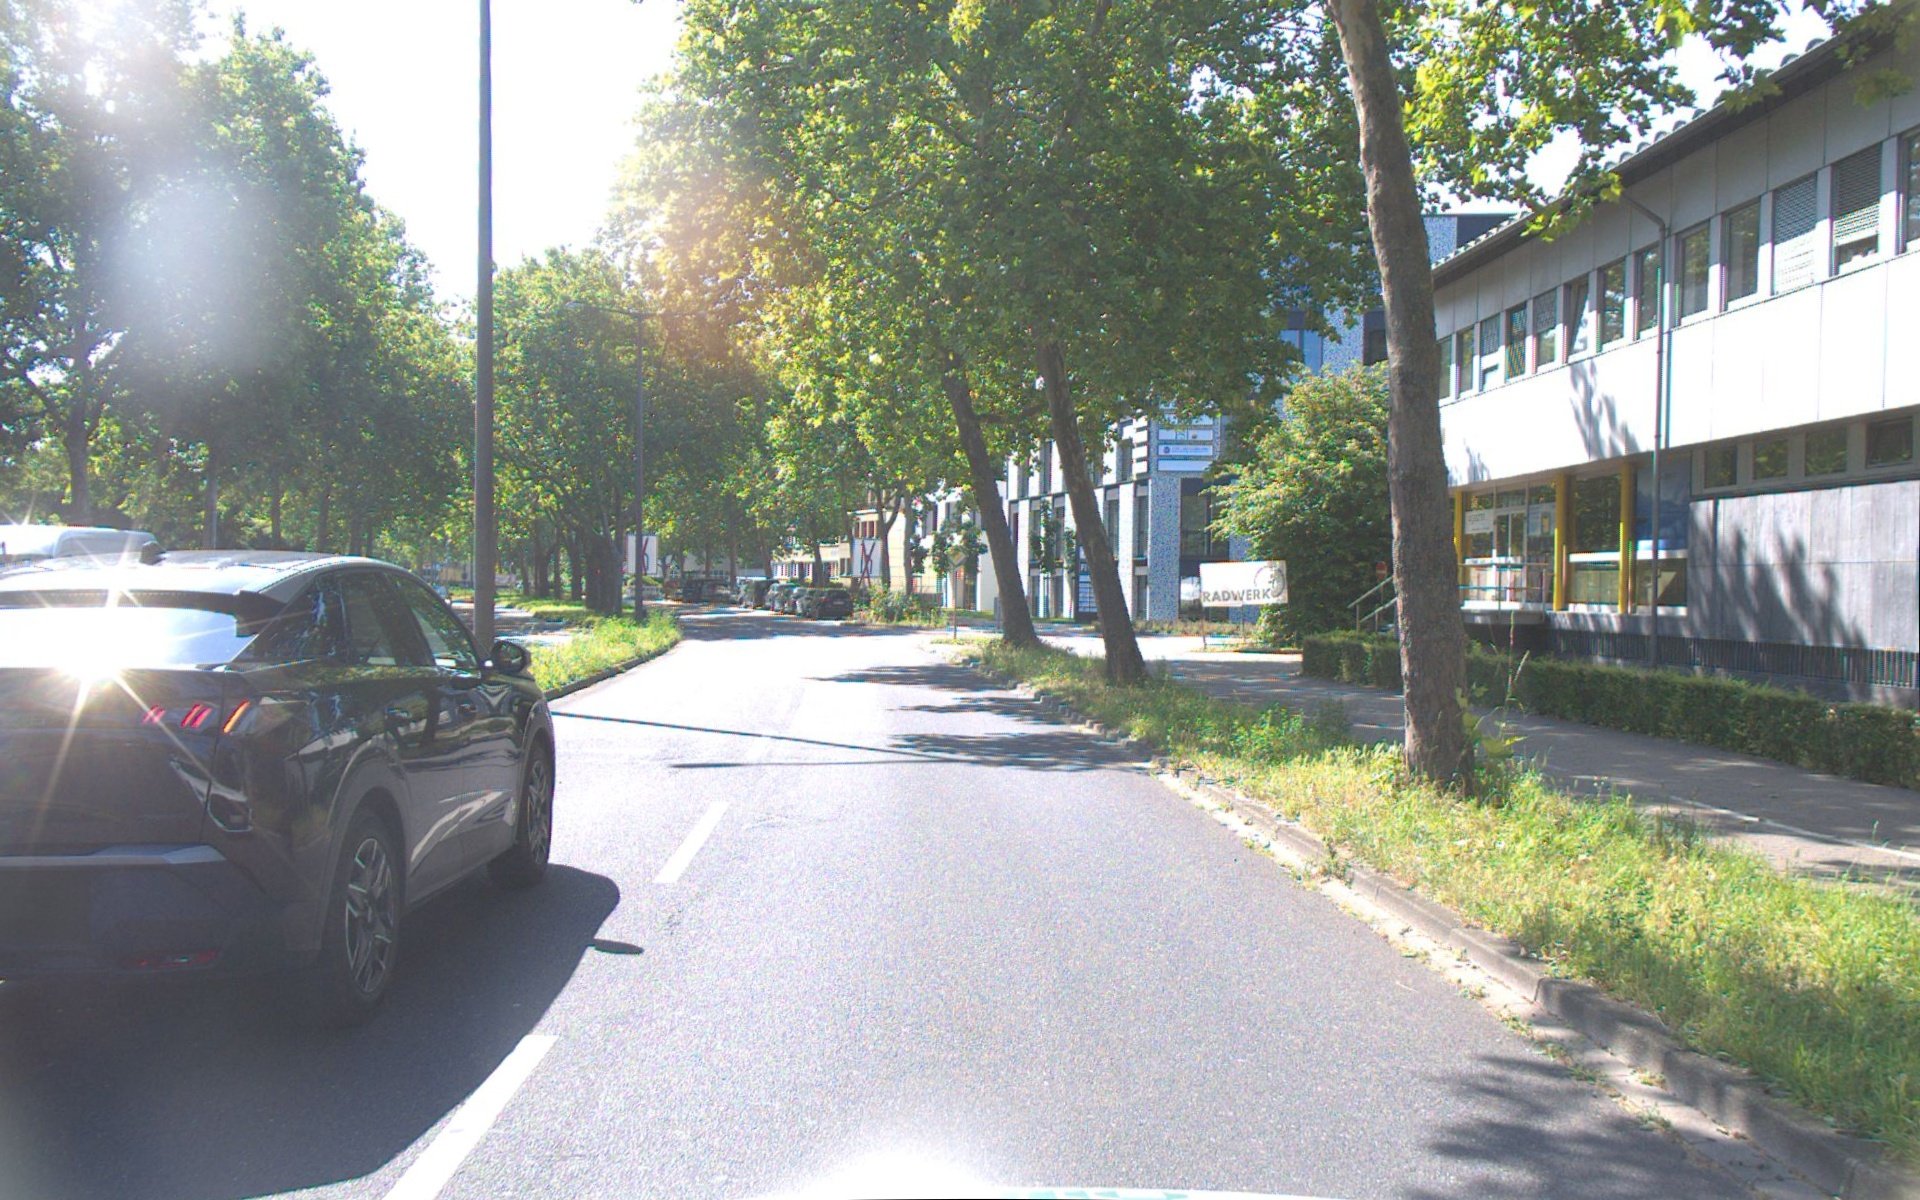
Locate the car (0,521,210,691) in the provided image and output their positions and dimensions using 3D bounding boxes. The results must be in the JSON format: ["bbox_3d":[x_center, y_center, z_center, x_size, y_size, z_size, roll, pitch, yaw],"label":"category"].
[{"bbox_3d":[-15.864,0.078,29.457,2.019,2.659,7.213,-1,0,-3],"label":"car"}]

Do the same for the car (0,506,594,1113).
[{"bbox_3d":[-2.886,0.592,6.938,1.834,1.726,4.434,-1,0,-2],"label":"car"}]

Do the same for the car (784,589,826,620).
[{"bbox_3d":[-8.083,0.222,85.933,1.677,1.513,4.088,0,1,-12],"label":"car"}]

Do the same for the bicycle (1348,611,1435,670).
[{"bbox_3d":[8.786,0.823,33.691,1.635,1.150,0.509,-1,0,6],"label":"bicycle"}]

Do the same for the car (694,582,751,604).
[{"bbox_3d":[-18.143,-0.531,126.502,4.062,1.662,1.693,0,1,-33],"label":"car"}]

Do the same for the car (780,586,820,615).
[{"bbox_3d":[-8.823,0.000,90.887,1.677,1.480,4.641,0,1,-12],"label":"car"}]

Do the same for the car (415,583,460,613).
[{"bbox_3d":[-28.427,-0.118,90.031,1.762,1.583,4.385,-1,1,-10],"label":"car"}]

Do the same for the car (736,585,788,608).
[{"bbox_3d":[-14.623,-0.257,122.125,3.500,1.668,1.649,0,1,-20],"label":"car"}]

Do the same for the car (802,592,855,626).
[{"bbox_3d":[-6.435,0.392,80.420,1.679,1.513,4.698,-1,1,-16],"label":"car"}]

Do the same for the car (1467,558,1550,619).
[{"bbox_3d":[16.176,-0.338,48.698,1.644,1.691,3.743,-2,-1,28],"label":"car"}]

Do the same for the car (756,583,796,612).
[{"bbox_3d":[-11.461,-0.180,102.970,1.680,1.698,4.512,0,1,-17],"label":"car"}]

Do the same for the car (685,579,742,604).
[{"bbox_3d":[-19.161,-0.653,128.504,4.065,1.912,1.763,0,1,-35],"label":"car"}]

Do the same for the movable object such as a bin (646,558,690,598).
[{"bbox_3d":[-24.679,-1.859,139.736,2.316,3.297,3.378,0,1,-42],"label":"movable object such as a bin"}]
